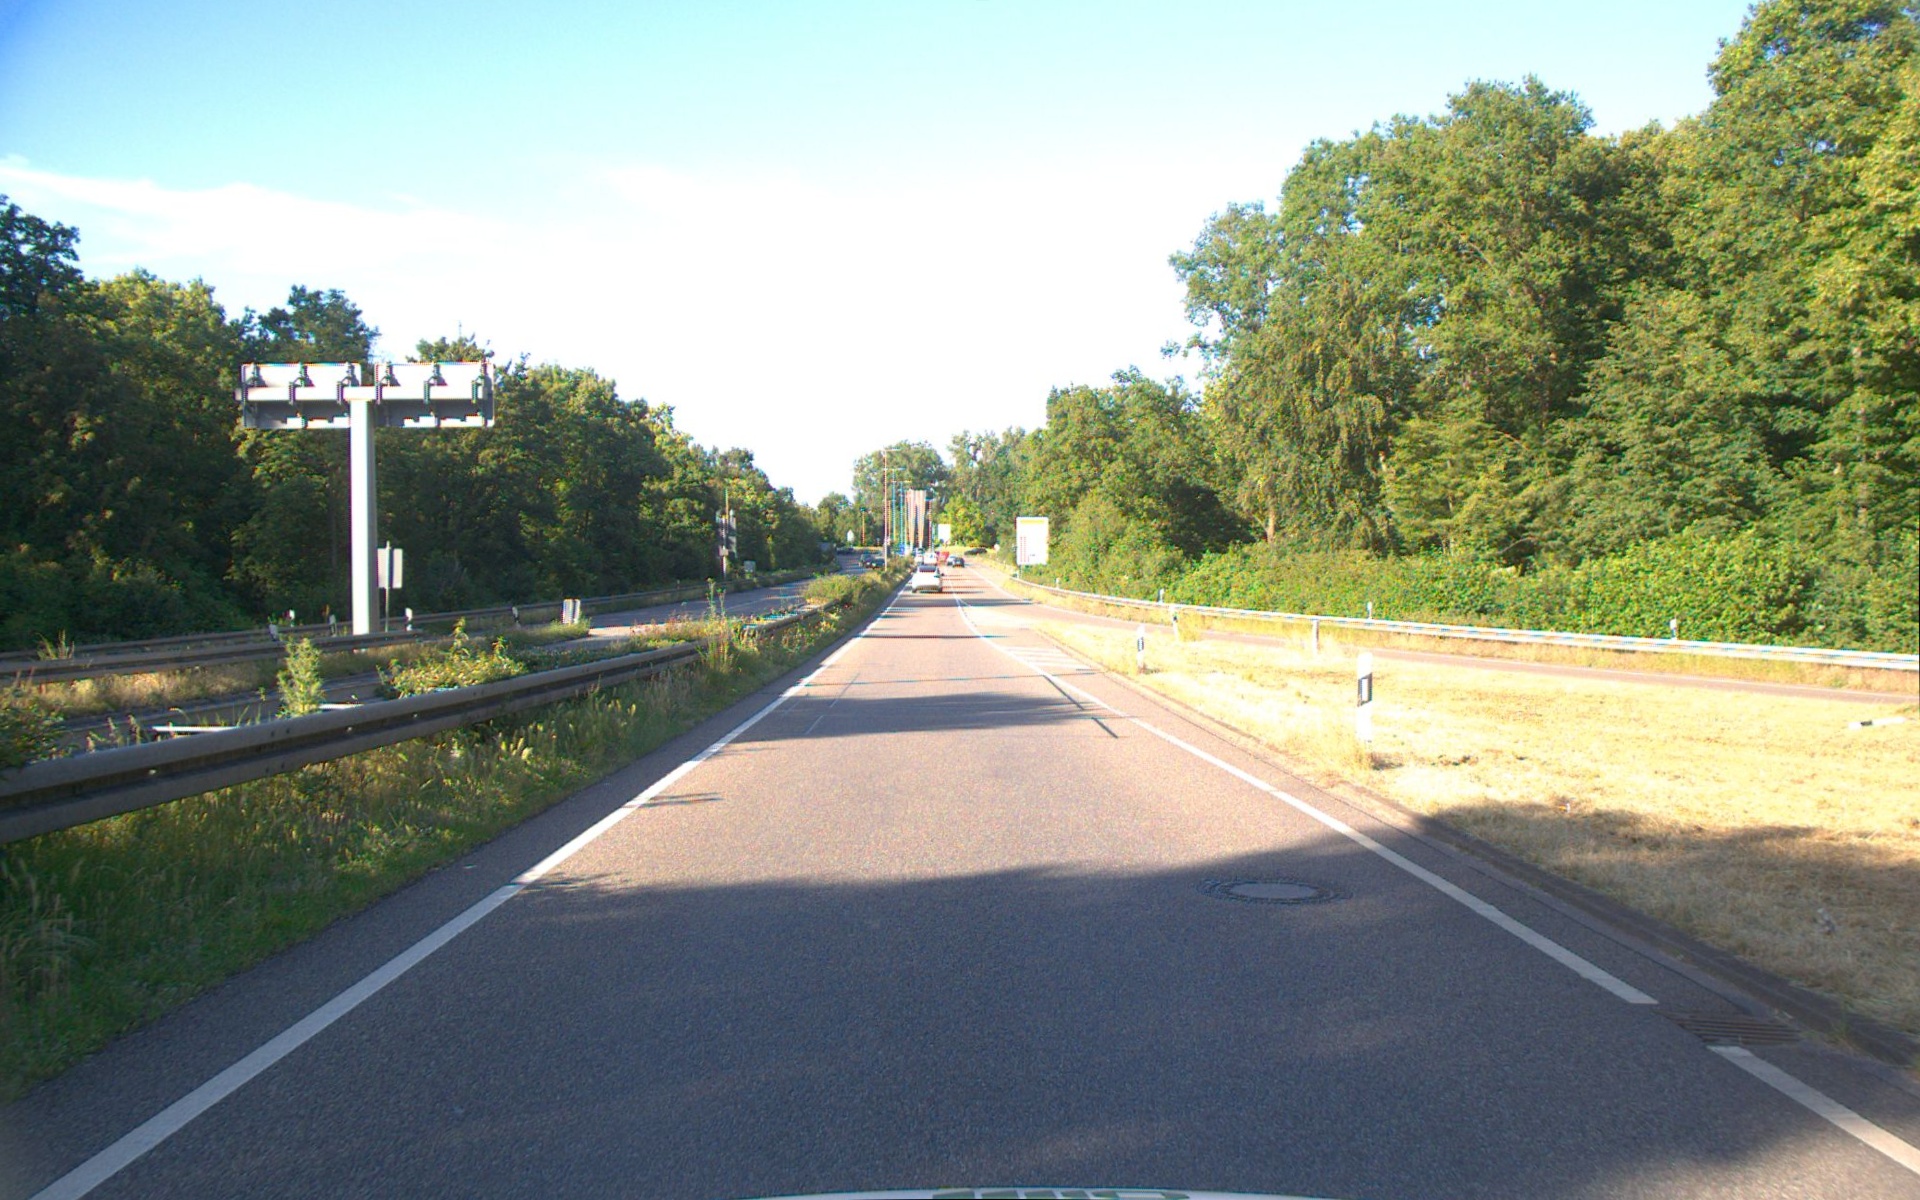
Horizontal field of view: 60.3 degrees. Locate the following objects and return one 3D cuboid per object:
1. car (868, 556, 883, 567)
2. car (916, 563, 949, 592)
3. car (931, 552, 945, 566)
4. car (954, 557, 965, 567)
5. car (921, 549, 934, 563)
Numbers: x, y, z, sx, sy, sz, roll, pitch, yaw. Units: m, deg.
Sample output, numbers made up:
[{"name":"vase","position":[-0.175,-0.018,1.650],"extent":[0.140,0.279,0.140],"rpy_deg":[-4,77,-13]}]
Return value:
[{"name":"car","position":[-11.069,-5.093,217.038],"extent":[1.744,1.427,4.554],"rpy_deg":[-1,2,1]},{"name":"car","position":[-1.705,-1.420,102.923],"extent":[1.953,1.668,4.128],"rpy_deg":[-1,3,-1]},{"name":"car","position":[-3.227,-6.048,245.693],"extent":[1.953,1.912,4.250],"rpy_deg":[-1,3,-1]},{"name":"car","position":[-0.097,-5.331,230.180],"extent":[1.360,1.302,2.987],"rpy_deg":[2,1,-1]},{"name":"car","position":[-5.019,-6.873,256.229],"extent":[1.953,2.049,3.999],"rpy_deg":[1,1,-2]}]
